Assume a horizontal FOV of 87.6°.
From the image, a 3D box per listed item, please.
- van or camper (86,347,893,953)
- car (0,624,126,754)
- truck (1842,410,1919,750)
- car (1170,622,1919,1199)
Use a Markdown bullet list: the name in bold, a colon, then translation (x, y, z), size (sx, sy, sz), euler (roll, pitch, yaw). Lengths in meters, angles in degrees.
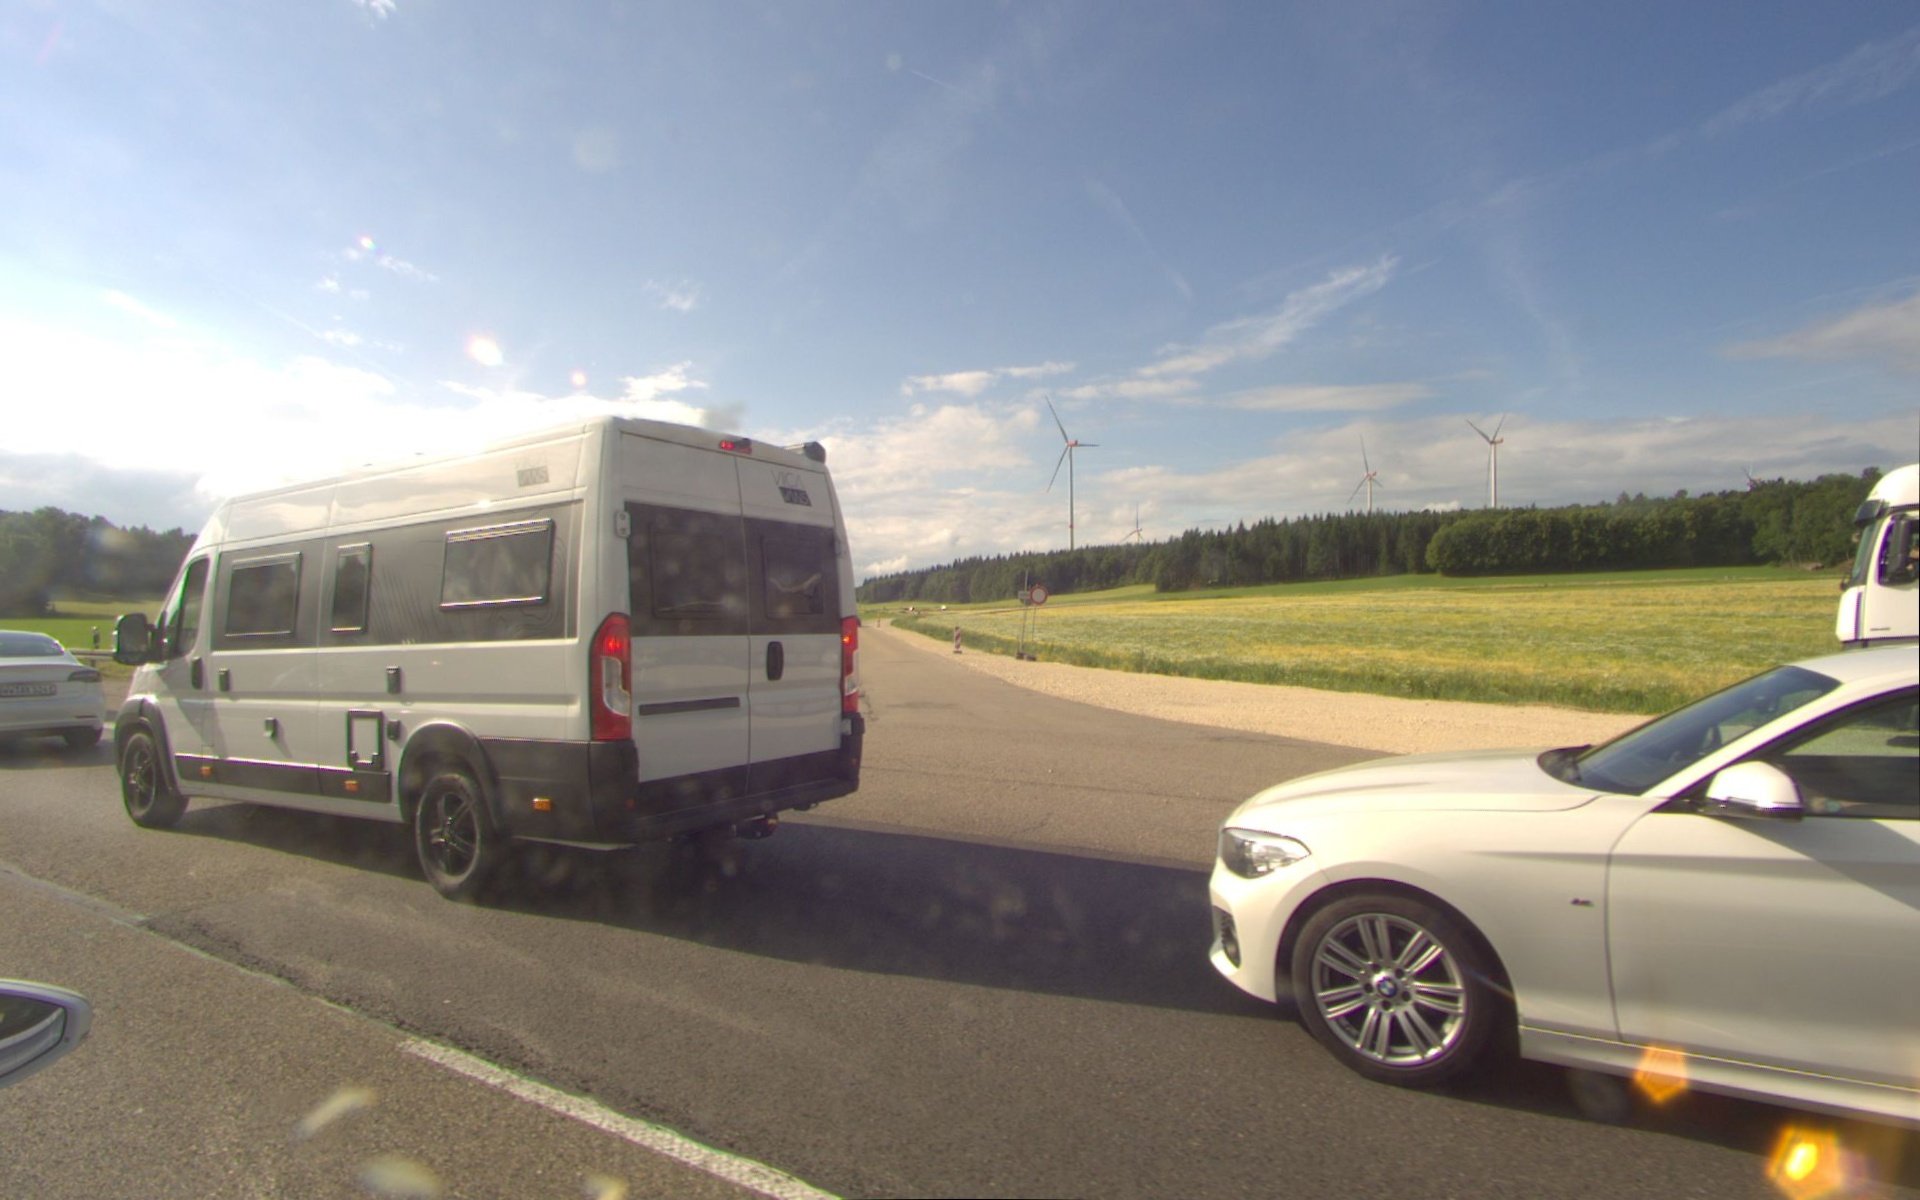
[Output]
- **van or camper**: translation (-3.639, 0.281, 7.110), size (6.242, 2.716, 2.211), euler (-1, -1, 32)
- **car**: translation (-12.392, 1.019, 12.460), size (4.372, 1.412, 1.786), euler (0, -1, 31)
- **truck**: translation (14.041, -0.245, 12.219), size (2.696, 4.227, 4.715), euler (1, -2, -43)
- **car**: translation (2.946, 0.810, 3.140), size (4.170, 1.450, 1.701), euler (-1, -2, 31)
